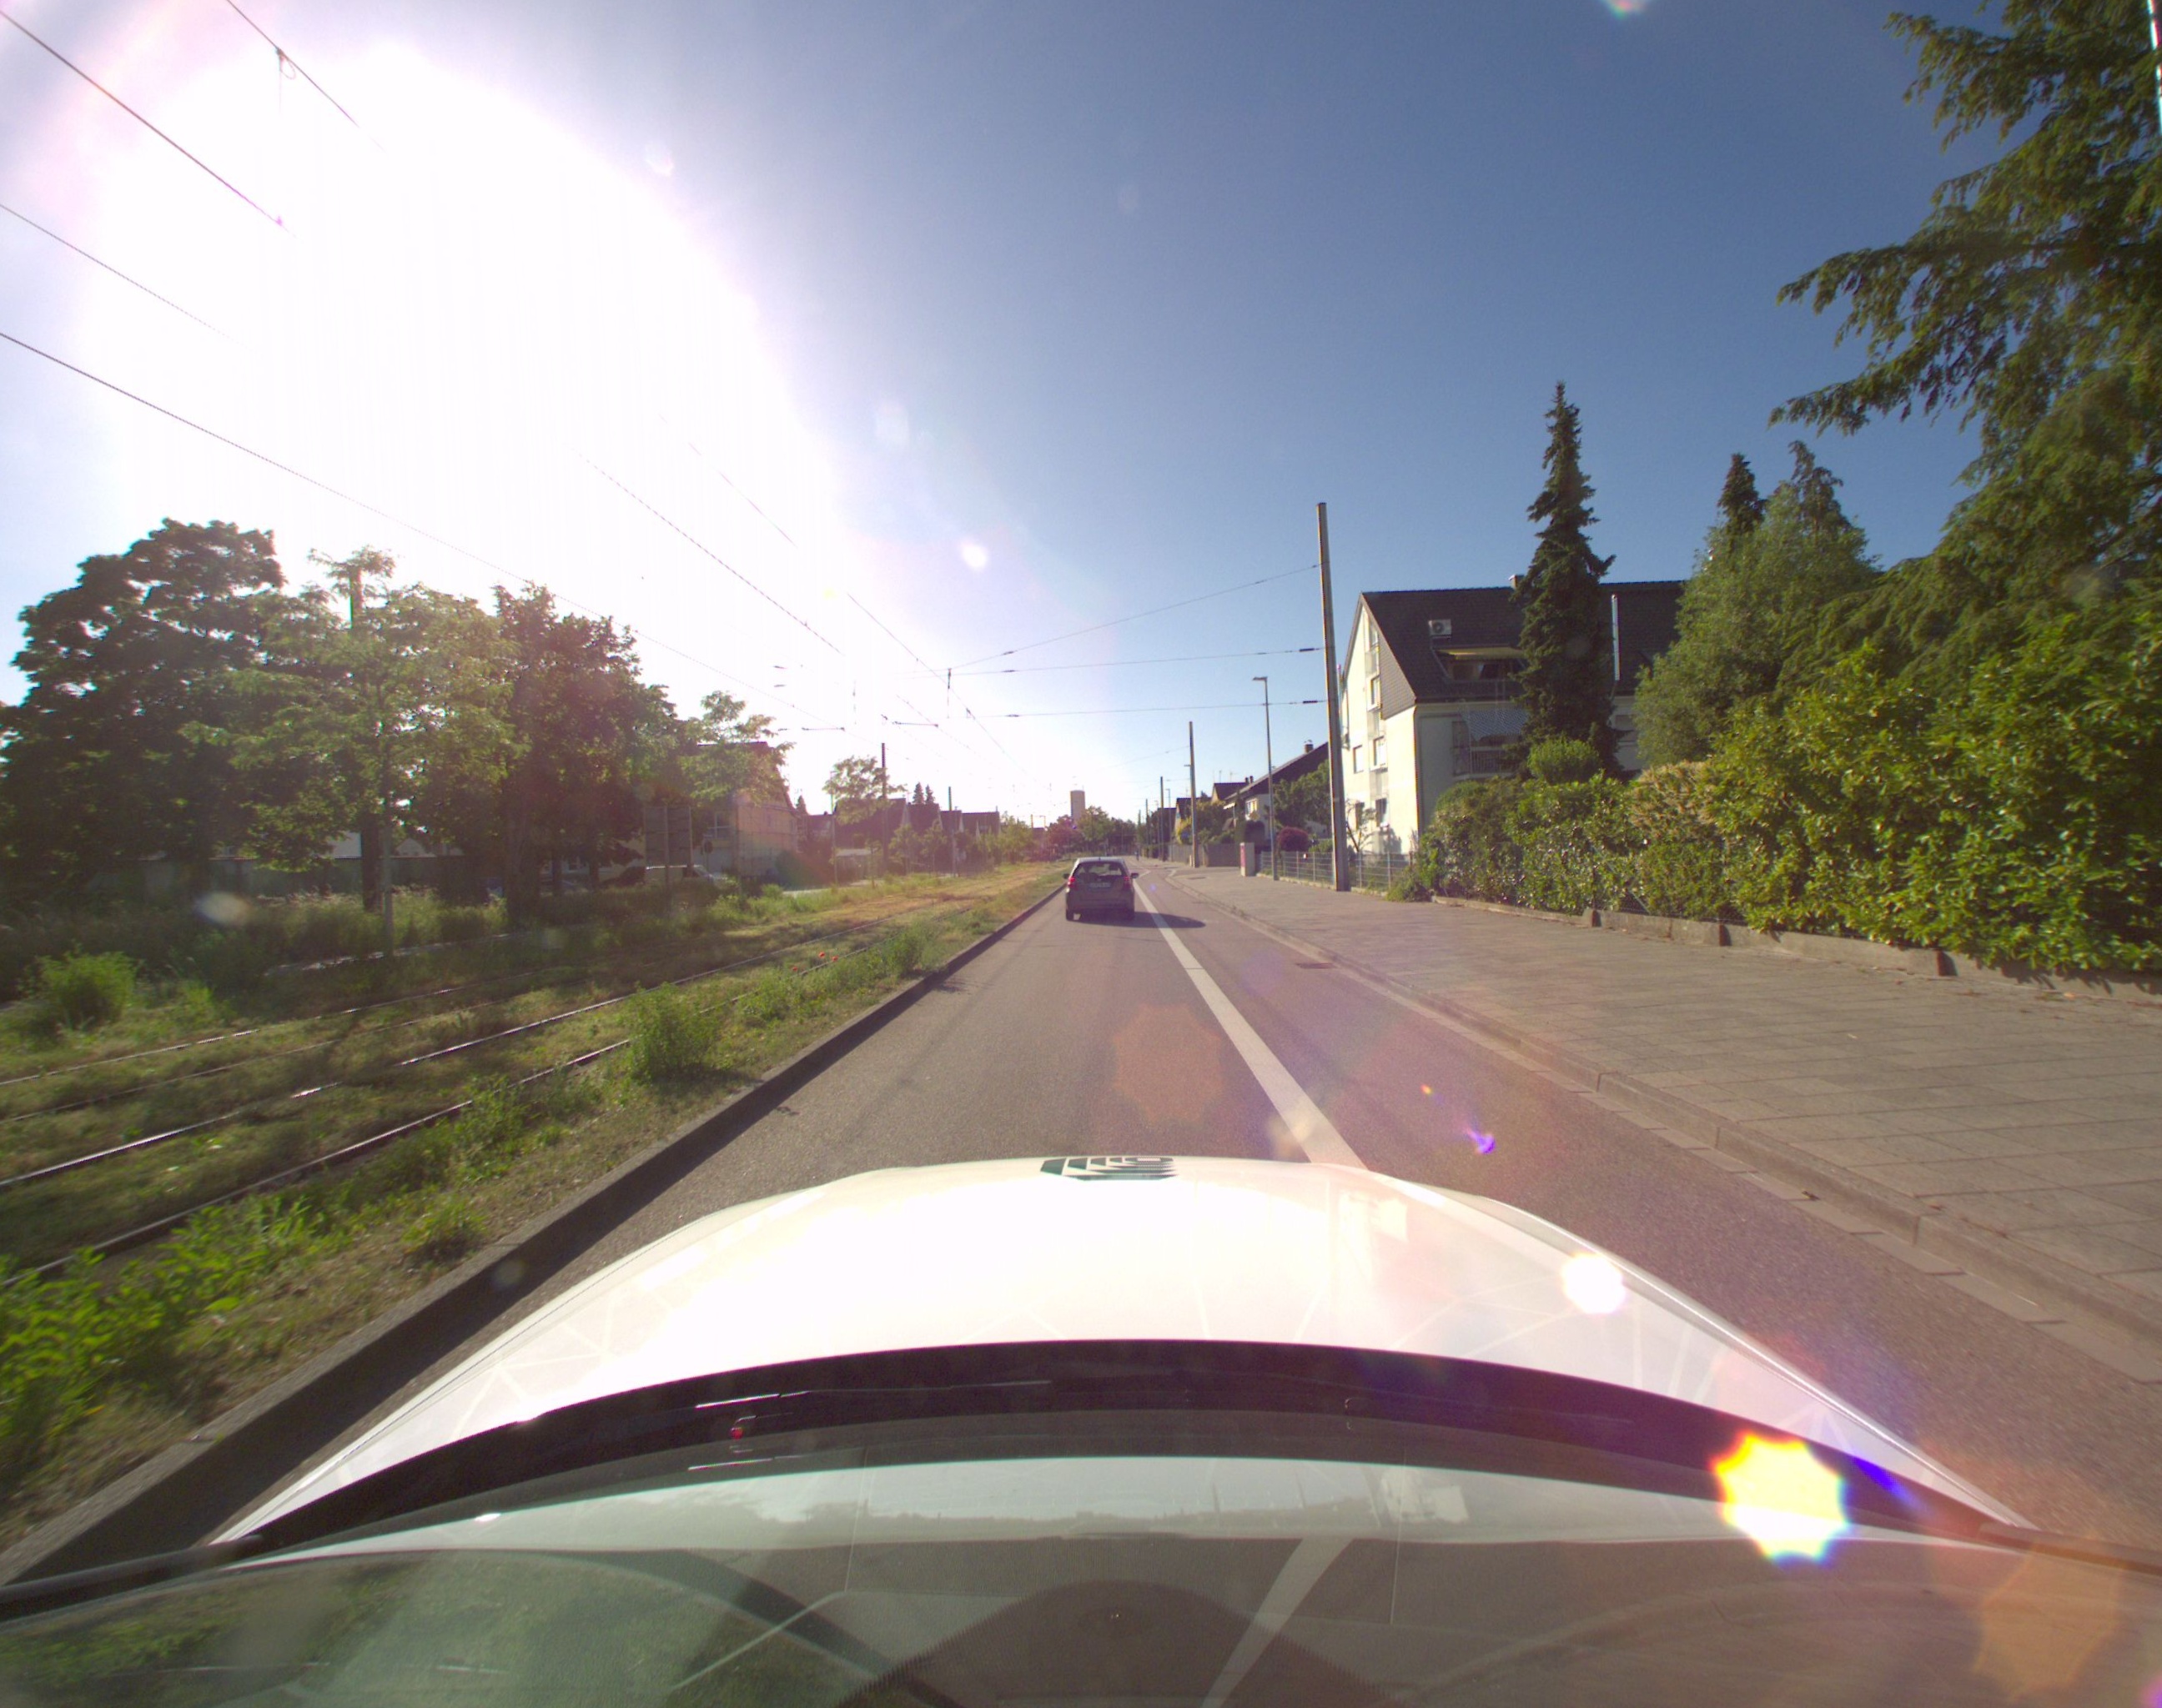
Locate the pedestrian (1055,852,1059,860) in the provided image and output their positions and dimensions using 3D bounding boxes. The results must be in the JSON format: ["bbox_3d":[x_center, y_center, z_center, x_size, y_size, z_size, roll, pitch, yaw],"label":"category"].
[{"bbox_3d":[-4.310,0.352,147.863,0.673,1.535,0.748,-3,0,-2],"label":"pedestrian"}]

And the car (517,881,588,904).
[{"bbox_3d":[-35.627,2.610,54.942,3.717,1.346,1.560,-3,-2,1],"label":"car"}]

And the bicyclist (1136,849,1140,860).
[{"bbox_3d":[8.745,0.115,124.996,0.596,1.701,0.684,-1,-1,2],"label":"bicyclist"}]

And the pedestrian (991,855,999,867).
[{"bbox_3d":[-12.746,1.036,120.888,0.961,1.640,1.086,-3,0,2],"label":"pedestrian"}]

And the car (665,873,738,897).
[{"bbox_3d":[-25.551,2.099,54.871,3.973,1.404,1.853,-3,-2,1],"label":"car"}]

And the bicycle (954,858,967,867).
[{"bbox_3d":[-20.207,1.481,136.530,1.985,1.365,0.704,-3,0,-5],"label":"bicycle"}]

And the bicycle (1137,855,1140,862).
[{"bbox_3d":[8.835,0.679,125.222,0.473,0.961,1.658,-1,0,3],"label":"bicycle"}]

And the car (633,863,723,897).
[{"bbox_3d":[-25.711,1.629,52.072,4.669,1.914,1.904,-3,0,1],"label":"car"}]

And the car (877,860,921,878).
[{"bbox_3d":[-20.224,1.622,90.476,4.540,1.734,2.046,-3,0,-10],"label":"car"}]

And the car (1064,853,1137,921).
[{"bbox_3d":[0.470,0.773,20.666,1.665,1.536,3.487,-1,0,1],"label":"car"}]
